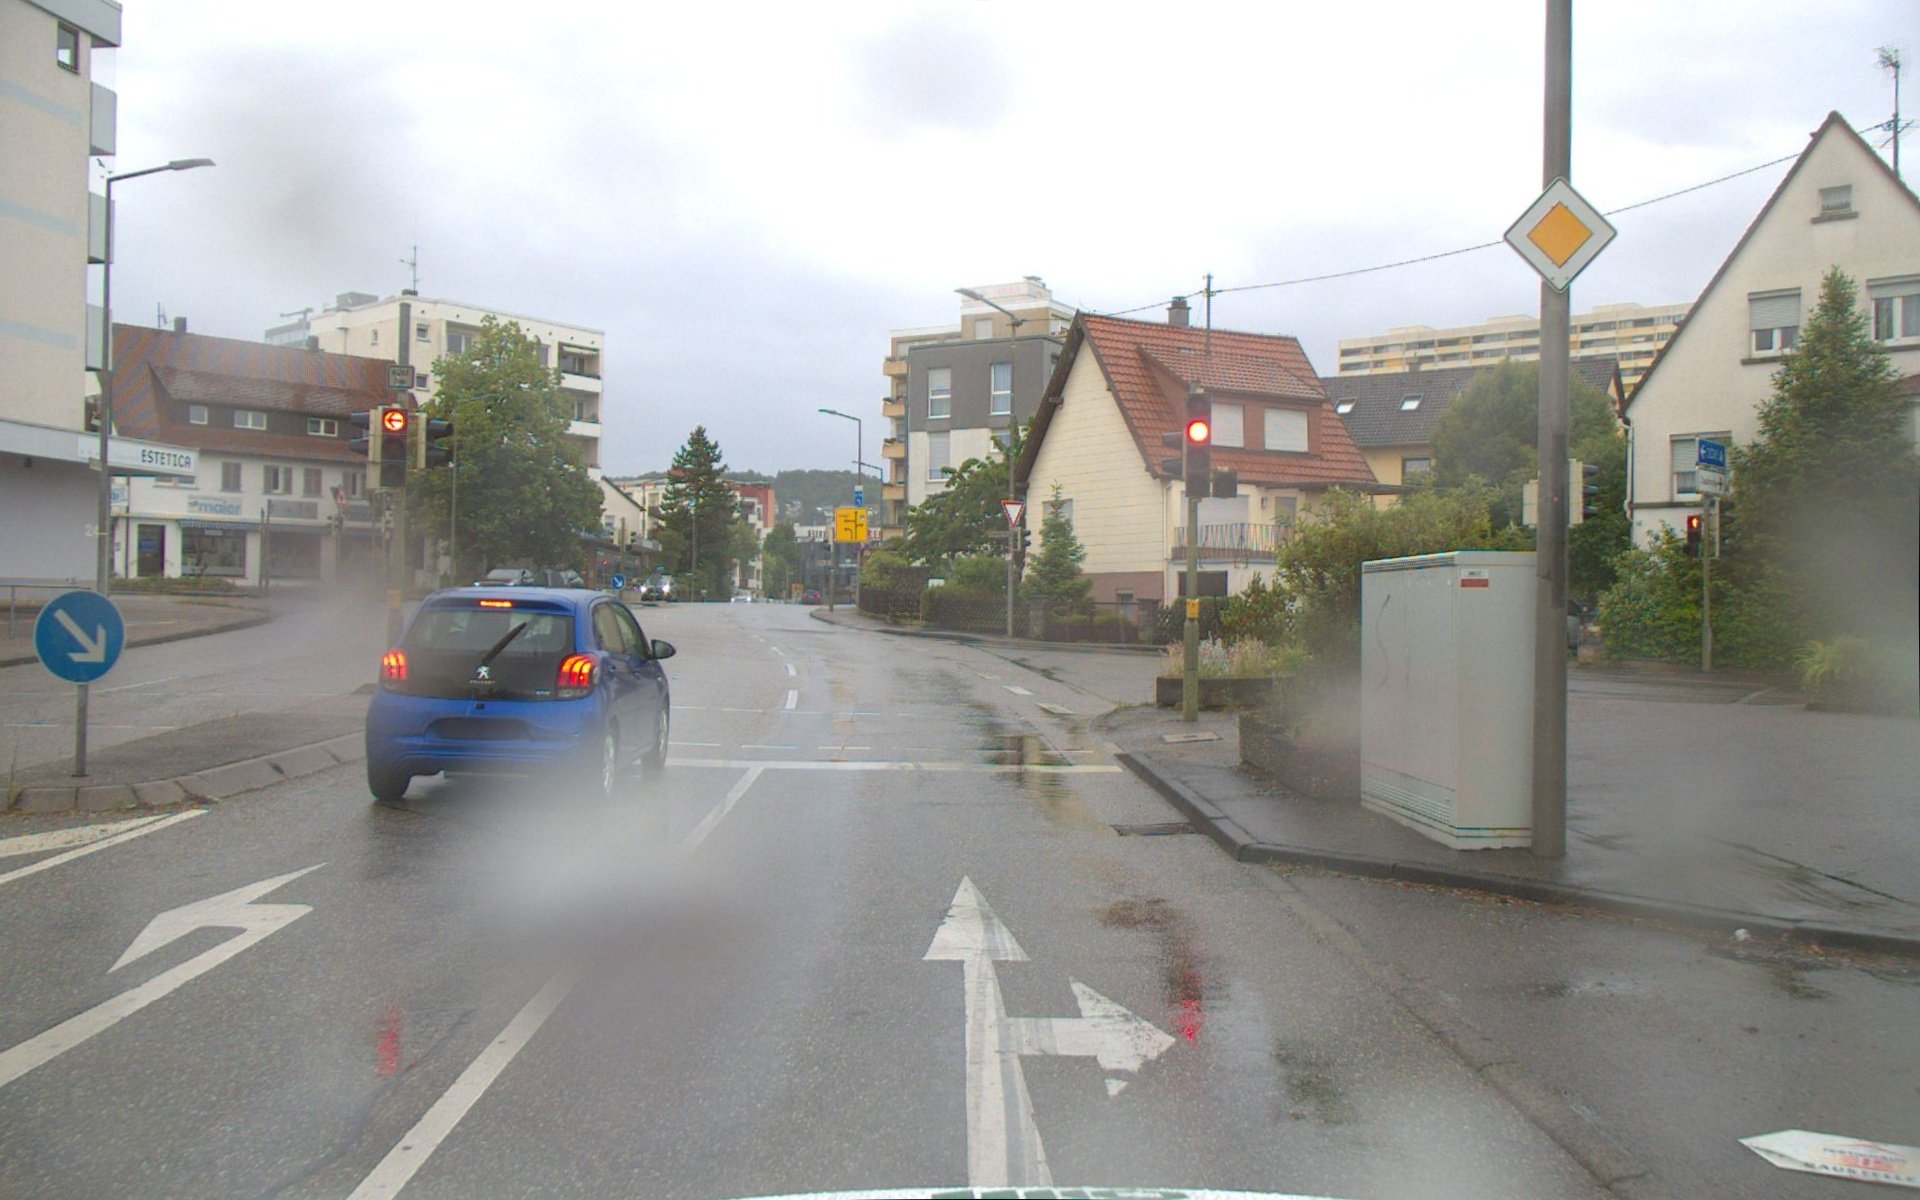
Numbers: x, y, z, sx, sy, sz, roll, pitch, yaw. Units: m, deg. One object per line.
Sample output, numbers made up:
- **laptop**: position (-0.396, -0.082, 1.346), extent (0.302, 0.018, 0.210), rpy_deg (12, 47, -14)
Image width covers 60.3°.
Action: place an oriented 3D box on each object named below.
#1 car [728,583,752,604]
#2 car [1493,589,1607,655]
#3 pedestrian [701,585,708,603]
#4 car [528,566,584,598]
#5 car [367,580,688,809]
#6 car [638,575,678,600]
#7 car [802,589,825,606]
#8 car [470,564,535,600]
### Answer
- **car**: position (-20.173, -0.603, 151.760), extent (1.719, 1.847, 3.861), rpy_deg (1, 1, -1)
- **car**: position (15.017, 0.524, 42.007), extent (1.710, 1.541, 3.986), rpy_deg (1, 1, 35)
- **pedestrian**: position (-23.590, -0.581, 152.883), extent (0.488, 1.687, 0.433), rpy_deg (1, 1, 35)
- **car**: position (-18.747, -0.842, 76.905), extent (1.680, 1.411, 4.019), rpy_deg (1, 1, -2)
- **car**: position (-3.044, 0.587, 12.260), extent (1.547, 1.435, 3.269), rpy_deg (1, 1, -1)
- **car**: position (-18.231, -0.792, 99.990), extent (1.743, 1.445, 3.830), rpy_deg (1, 1, -2)
- **car**: position (-13.471, -0.232, 152.074), extent (1.776, 1.512, 4.189), rpy_deg (0, 1, -1)
- **car**: position (-19.213, -0.768, 69.646), extent (1.743, 1.445, 3.830), rpy_deg (1, 1, -2)
